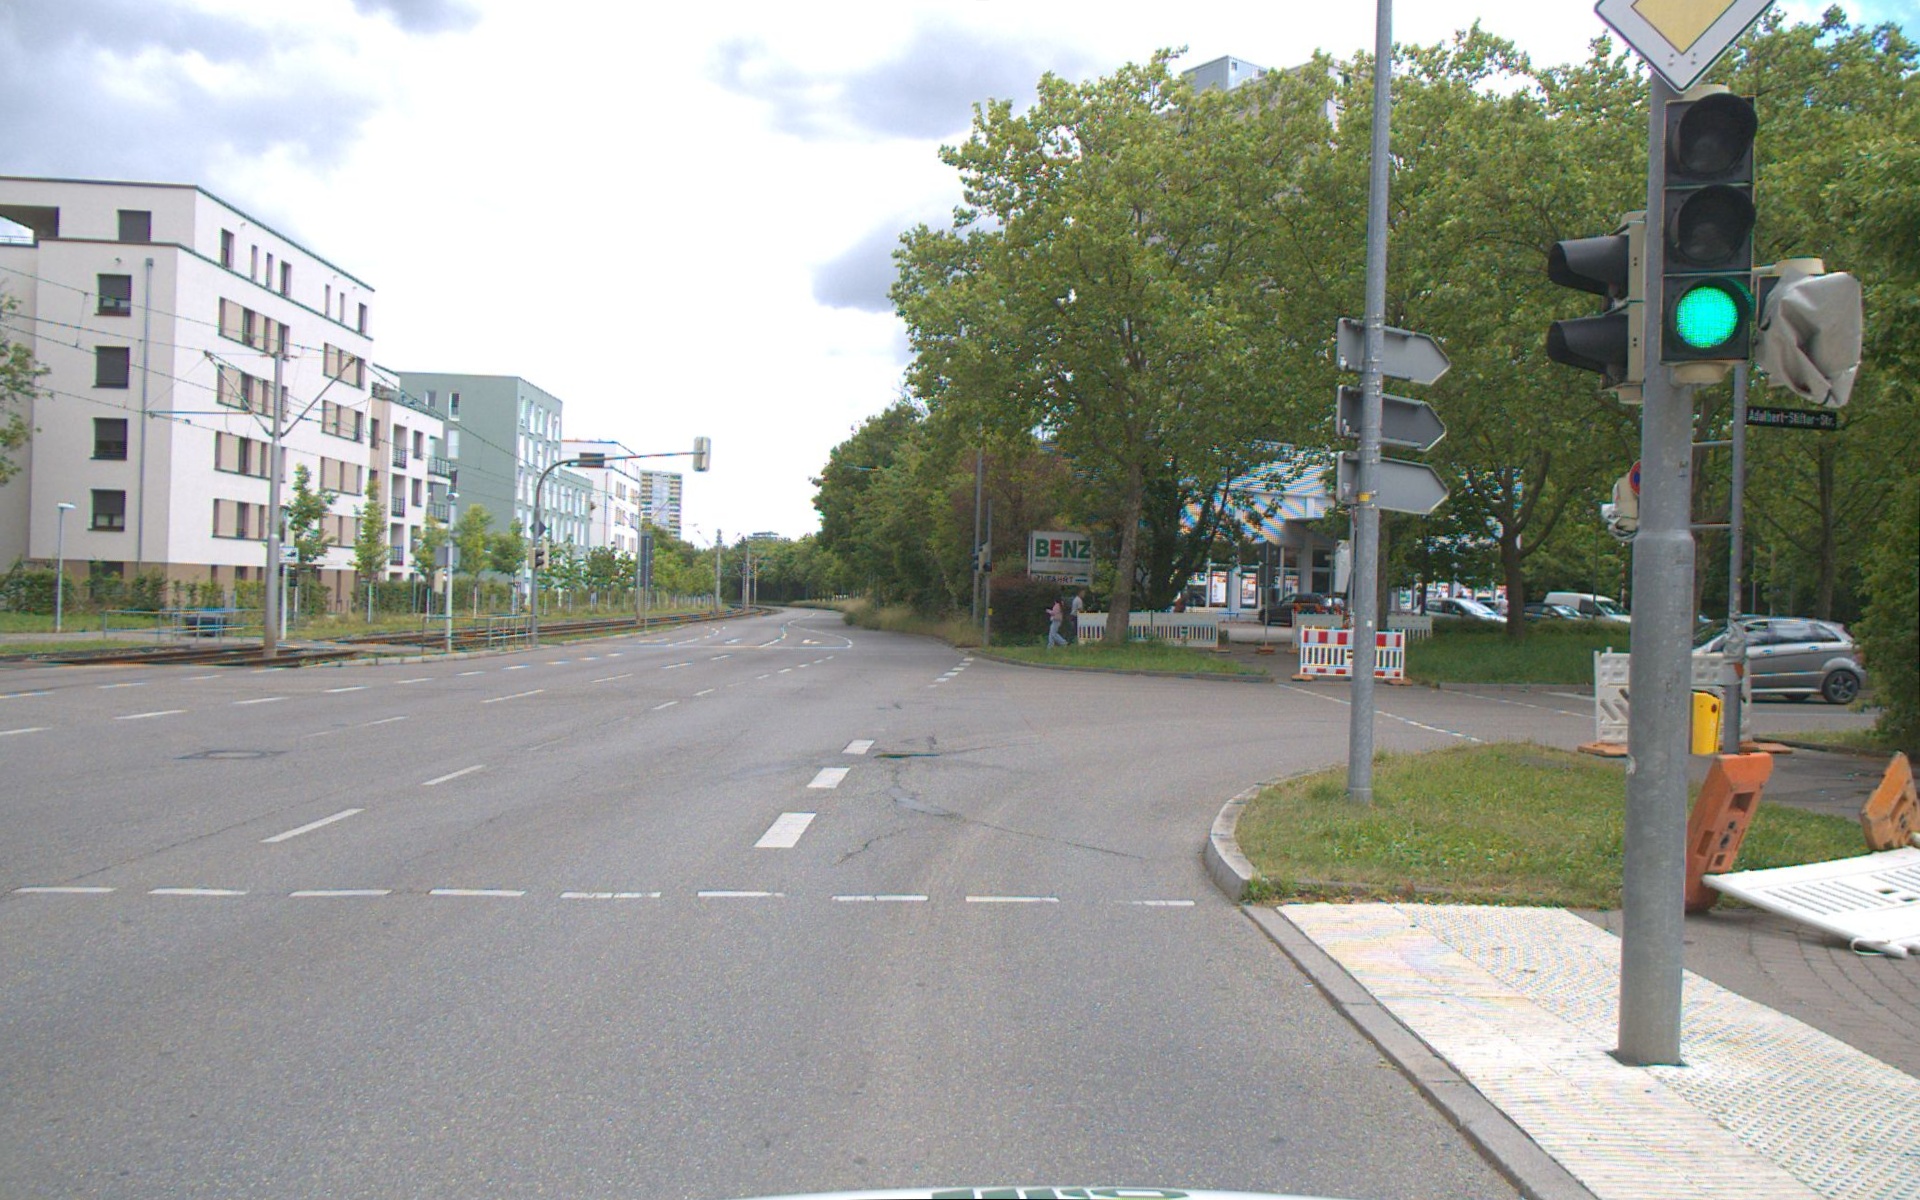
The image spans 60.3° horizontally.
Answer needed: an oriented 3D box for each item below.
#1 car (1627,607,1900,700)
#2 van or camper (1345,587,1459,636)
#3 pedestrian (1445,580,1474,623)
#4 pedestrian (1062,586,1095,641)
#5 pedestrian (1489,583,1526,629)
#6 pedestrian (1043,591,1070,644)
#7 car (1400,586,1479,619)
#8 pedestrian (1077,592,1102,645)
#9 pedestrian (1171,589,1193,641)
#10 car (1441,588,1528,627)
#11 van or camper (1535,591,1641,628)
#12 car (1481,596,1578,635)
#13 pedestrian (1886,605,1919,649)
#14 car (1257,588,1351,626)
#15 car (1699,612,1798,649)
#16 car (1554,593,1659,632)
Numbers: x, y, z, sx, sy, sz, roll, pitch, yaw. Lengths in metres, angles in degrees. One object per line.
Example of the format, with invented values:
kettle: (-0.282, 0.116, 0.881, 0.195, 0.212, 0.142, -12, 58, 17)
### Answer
car: (15.109, 0.995, 31.253, 4.307, 1.614, 1.772, 1, -1, 1)
van or camper: (15.912, 0.388, 59.707, 1.819, 1.713, 3.964, 0, 0, -27)
pedestrian: (19.173, 0.061, 63.461, 0.779, 1.614, 0.798, 1, -1, -9)
pedestrian: (3.531, 0.410, 49.198, 0.832, 1.614, 0.795, 1, -1, -6)
pedestrian: (23.106, 0.243, 69.824, 1.057, 1.904, 1.053, 1, -1, -22)
pedestrian: (2.802, 0.515, 47.881, 0.683, 1.515, 0.687, 1, -1, -3)
car: (22.004, 0.118, 75.987, 1.465, 1.429, 3.373, 2, -1, -31)
pedestrian: (3.760, 0.547, 47.990, 0.683, 1.515, 0.720, 1, -1, 2)
pedestrian: (6.672, 0.452, 49.772, 0.639, 1.565, 0.773, 1, -1, 7)
car: (24.600, 0.329, 77.664, 1.650, 1.663, 3.783, 2, 1, -30)
van or camper: (24.486, 0.380, 64.629, 1.499, 1.380, 3.732, 2, -1, -33)
car: (21.538, 0.569, 62.685, 1.464, 1.429, 3.375, 2, -1, -29)
pedestrian: (44.522, 1.257, 78.058, 1.072, 1.984, 0.974, 3, 0, -36)
car: (14.557, 0.286, 70.215, 1.707, 1.526, 4.232, 2, -1, -26)
car: (34.691, 1.335, 72.875, 1.707, 1.526, 3.713, 2, -1, -26)
car: (26.011, 0.488, 66.651, 1.465, 1.491, 3.852, 2, -1, -30)
